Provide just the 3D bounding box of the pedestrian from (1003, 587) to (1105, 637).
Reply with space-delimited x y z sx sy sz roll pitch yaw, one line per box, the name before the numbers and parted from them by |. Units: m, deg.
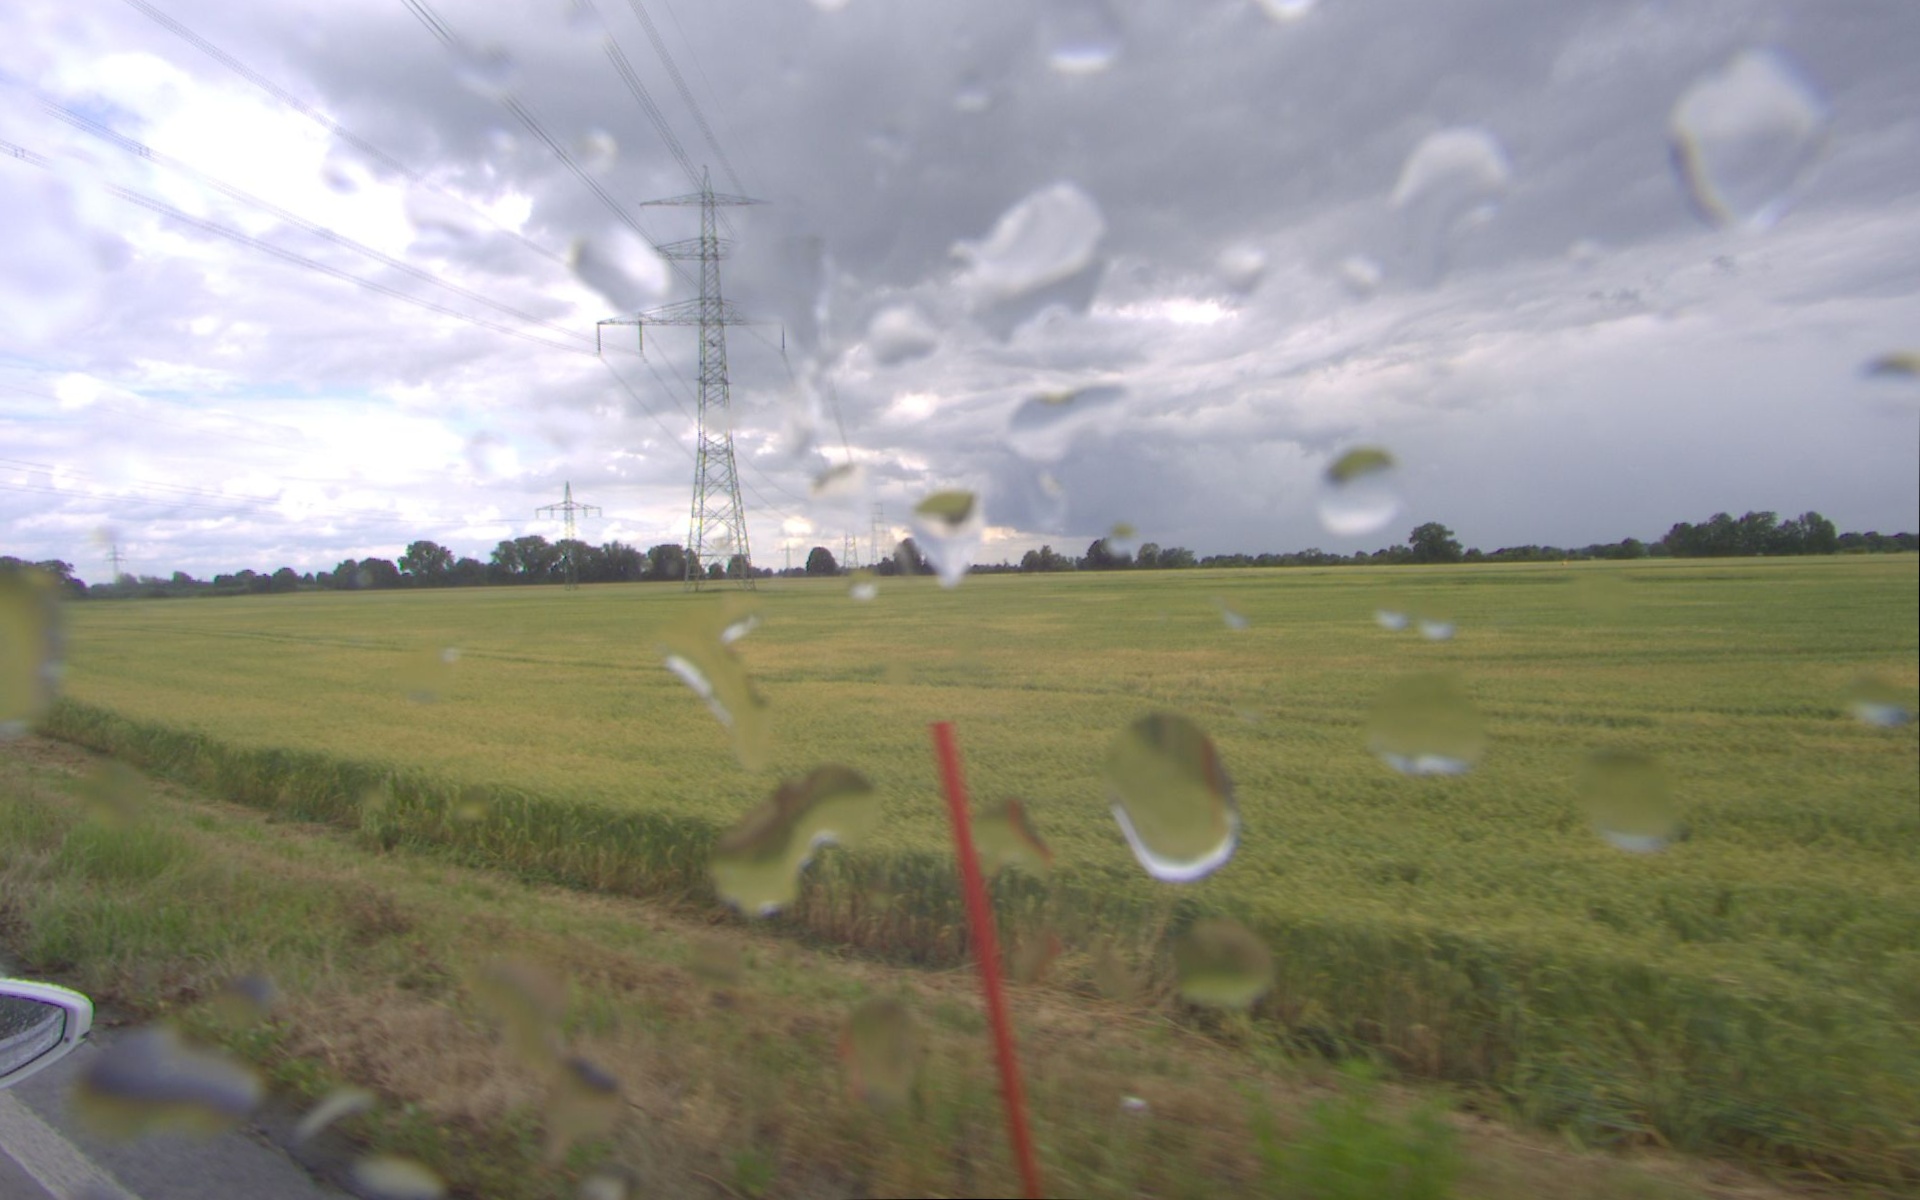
pedestrian | 4.094 0.553 43.535 3.937 2.039 1.993 -2 -2 27
